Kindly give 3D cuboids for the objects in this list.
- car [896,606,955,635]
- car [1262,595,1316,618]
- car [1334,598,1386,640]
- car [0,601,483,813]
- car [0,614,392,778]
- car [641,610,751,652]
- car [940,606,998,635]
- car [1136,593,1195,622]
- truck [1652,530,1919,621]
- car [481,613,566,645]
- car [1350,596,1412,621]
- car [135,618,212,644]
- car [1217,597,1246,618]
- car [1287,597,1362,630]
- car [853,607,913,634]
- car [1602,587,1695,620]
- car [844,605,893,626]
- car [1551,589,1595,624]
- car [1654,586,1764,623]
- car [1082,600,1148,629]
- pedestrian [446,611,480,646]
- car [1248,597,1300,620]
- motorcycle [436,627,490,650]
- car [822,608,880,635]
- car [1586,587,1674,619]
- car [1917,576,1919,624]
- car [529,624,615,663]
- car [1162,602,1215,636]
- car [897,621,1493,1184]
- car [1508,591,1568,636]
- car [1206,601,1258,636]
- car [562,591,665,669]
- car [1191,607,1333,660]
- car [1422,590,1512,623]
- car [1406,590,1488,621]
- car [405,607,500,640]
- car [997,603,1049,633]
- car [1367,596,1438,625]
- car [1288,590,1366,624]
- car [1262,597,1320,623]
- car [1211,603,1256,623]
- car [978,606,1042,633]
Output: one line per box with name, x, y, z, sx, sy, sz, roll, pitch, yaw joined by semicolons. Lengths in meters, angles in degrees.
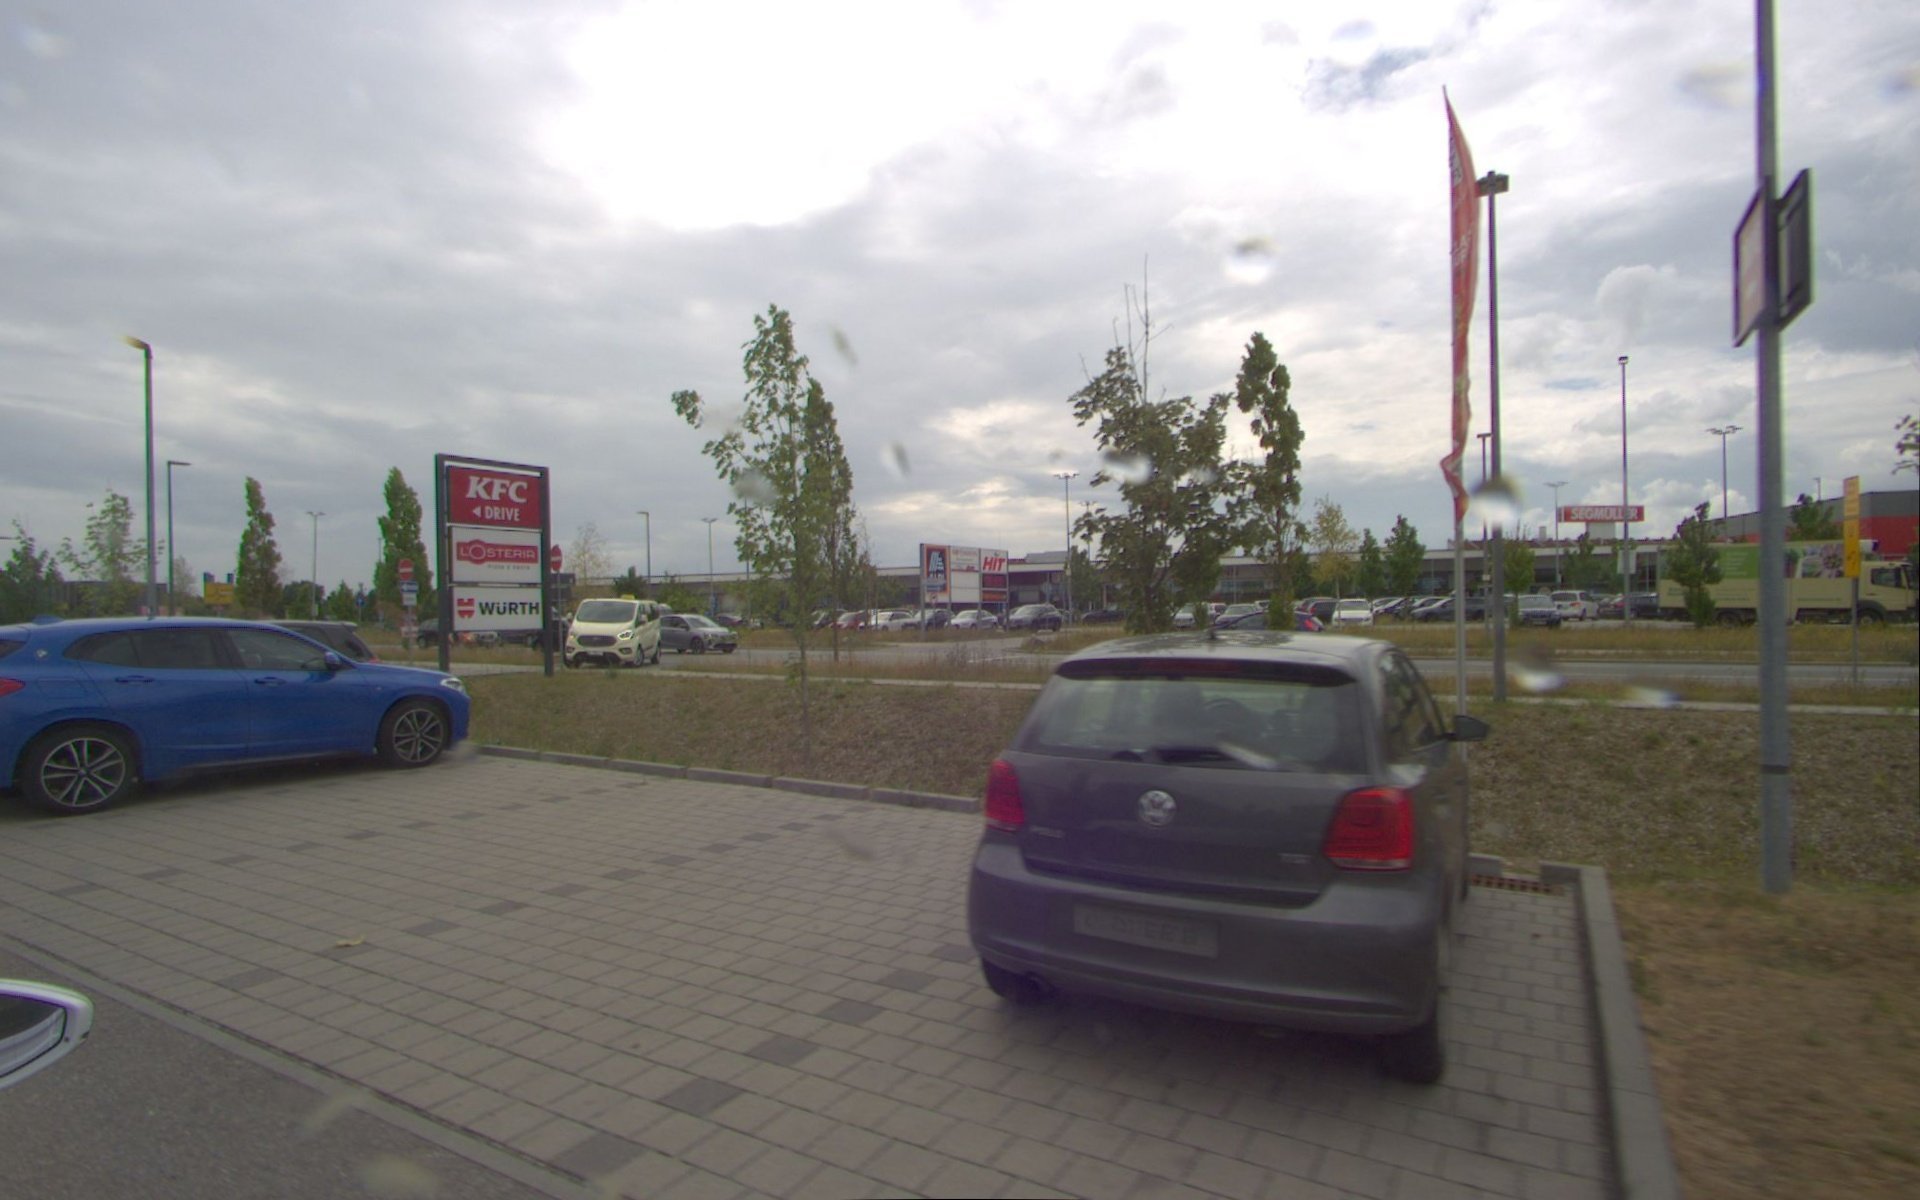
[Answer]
car;-2.017;1.218;59.556;1.966;1.560;4.042;-1;1;23
car;27.026;0.540;82.380;4.110;1.862;1.997;-1;1;16
car;18.559;0.855;46.628;1.964;1.795;4.312;-1;1;18
car;-6.957;0.828;9.382;1.838;1.564;4.194;-1;-1;32
car;-8.892;0.931;11.226;1.751;1.479;4.051;0;0;34
car;-9.959;1.148;37.745;3.944;1.479;1.819;-1;1;33
car;0.543;1.173;58.145;1.966;1.560;4.042;-1;1;23
car;12.299;0.435;59.724;1.973;1.560;4.133;-1;1;35
truck;32.885;-0.869;39.842;2.994;3.239;8.364;-2;1;-39
car;-21.947;1.444;50.282;4.361;1.506;1.918;-1;1;35
car;31.795;0.631;75.720;4.110;1.862;1.997;-1;1;16
car;-44.885;1.765;57.113;4.487;1.413;1.762;-1;-1;28
car;21.277;0.563;78.319;1.965;1.560;4.151;-1;1;19
car;22.119;0.813;60.958;4.110;1.862;1.997;-1;1;16
car;-4.675;1.256;61.512;1.835;1.521;4.057;-1;1;27
car;39.668;0.180;57.753;3.925;1.796;1.998;-1;1;11
car;-8.448;1.462;92.475;4.111;1.862;1.996;-1;1;17
car;33.643;0.321;55.018;1.971;1.795;3.978;-1;1;31
car;38.720;0.215;51.861;4.063;1.796;1.998;-1;1;10
car;10.275;0.951;66.258;4.110;1.862;1.997;-1;1;16
pedestrian;-19.444;1.111;39.192;0.885;1.299;0.803;0;1;28
car;26.732;0.742;85.333;4.110;1.862;1.997;-1;1;16
motorcycle;-19.452;1.500;39.193;1.995;0.784;0.813;0;4;27
car;-6.805;1.351;63.109;1.876;1.560;4.042;-1;1;23
car;40.127;0.163;60.062;3.925;1.796;1.998;-1;1;12
car;38.707;-0.044;37.608;2.041;1.909;5.061;0;-1;19
car;-14.244;1.572;36.731;3.120;1.354;1.457;-1;0;35
car;11.579;0.926;50.660;1.743;1.560;4.039;-1;1;26
car;1.501;0.858;4.747;1.702;1.446;3.984;-1;-2;30
car;24.789;0.533;43.053;1.900;1.795;4.305;-1;1;26
car;13.375;0.898;49.151;1.743;1.560;4.039;-1;1;26
car;-10.138;0.811;29.743;1.962;2.114;5.227;0;0;-9
car;9.091;0.994;30.148;3.859;1.479;1.654;-1;1;27
car;29.006;0.356;57.469;4.241;1.796;1.997;-1;1;14
car;30.422;0.353;62.667;4.242;1.796;1.997;-1;1;15
car;-22.867;1.055;45.088;4.153;1.413;1.762;-1;-1;28
car;3.553;1.001;56.168;1.743;1.560;3.752;-1;1;23
car;29.767;0.695;67.426;4.110;1.863;1.997;0;1;16
car;21.376;0.413;58.502;4.110;1.862;1.997;-1;1;16
car;25.355;0.762;76.911;4.110;1.862;1.997;-1;1;16
car;26.176;1.266;95.858;4.110;1.862;1.997;-1;1;16
car;3.539;1.375;70.596;4.110;1.862;1.997;-1;1;16
